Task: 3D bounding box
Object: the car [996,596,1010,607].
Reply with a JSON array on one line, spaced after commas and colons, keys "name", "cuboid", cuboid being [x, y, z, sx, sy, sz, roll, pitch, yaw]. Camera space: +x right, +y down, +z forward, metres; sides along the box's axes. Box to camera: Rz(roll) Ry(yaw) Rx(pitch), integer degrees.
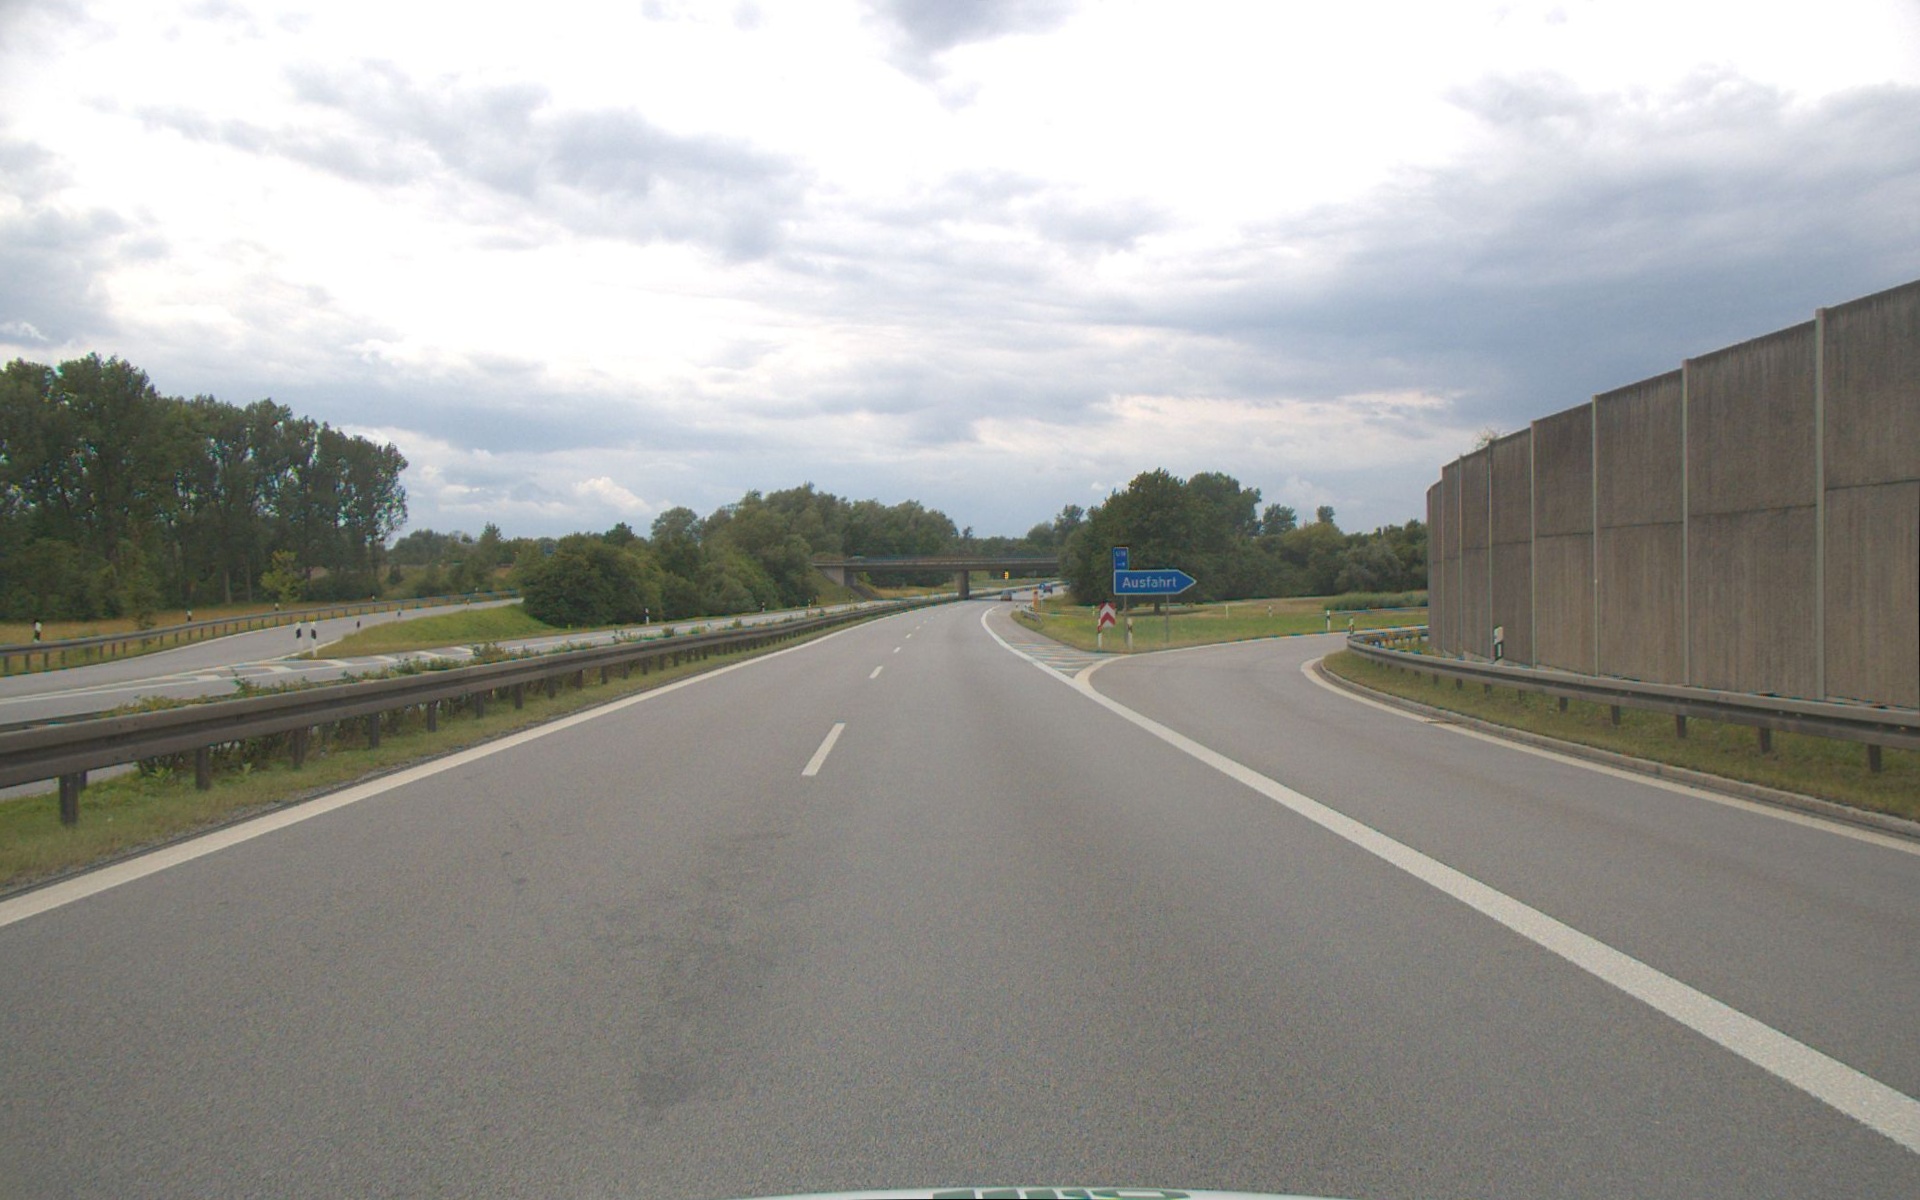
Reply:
[{"name": "car", "cuboid": [6.757, 0.219, 260.701, 1.806, 1.747, 4.003, -1, 0, 8]}]
